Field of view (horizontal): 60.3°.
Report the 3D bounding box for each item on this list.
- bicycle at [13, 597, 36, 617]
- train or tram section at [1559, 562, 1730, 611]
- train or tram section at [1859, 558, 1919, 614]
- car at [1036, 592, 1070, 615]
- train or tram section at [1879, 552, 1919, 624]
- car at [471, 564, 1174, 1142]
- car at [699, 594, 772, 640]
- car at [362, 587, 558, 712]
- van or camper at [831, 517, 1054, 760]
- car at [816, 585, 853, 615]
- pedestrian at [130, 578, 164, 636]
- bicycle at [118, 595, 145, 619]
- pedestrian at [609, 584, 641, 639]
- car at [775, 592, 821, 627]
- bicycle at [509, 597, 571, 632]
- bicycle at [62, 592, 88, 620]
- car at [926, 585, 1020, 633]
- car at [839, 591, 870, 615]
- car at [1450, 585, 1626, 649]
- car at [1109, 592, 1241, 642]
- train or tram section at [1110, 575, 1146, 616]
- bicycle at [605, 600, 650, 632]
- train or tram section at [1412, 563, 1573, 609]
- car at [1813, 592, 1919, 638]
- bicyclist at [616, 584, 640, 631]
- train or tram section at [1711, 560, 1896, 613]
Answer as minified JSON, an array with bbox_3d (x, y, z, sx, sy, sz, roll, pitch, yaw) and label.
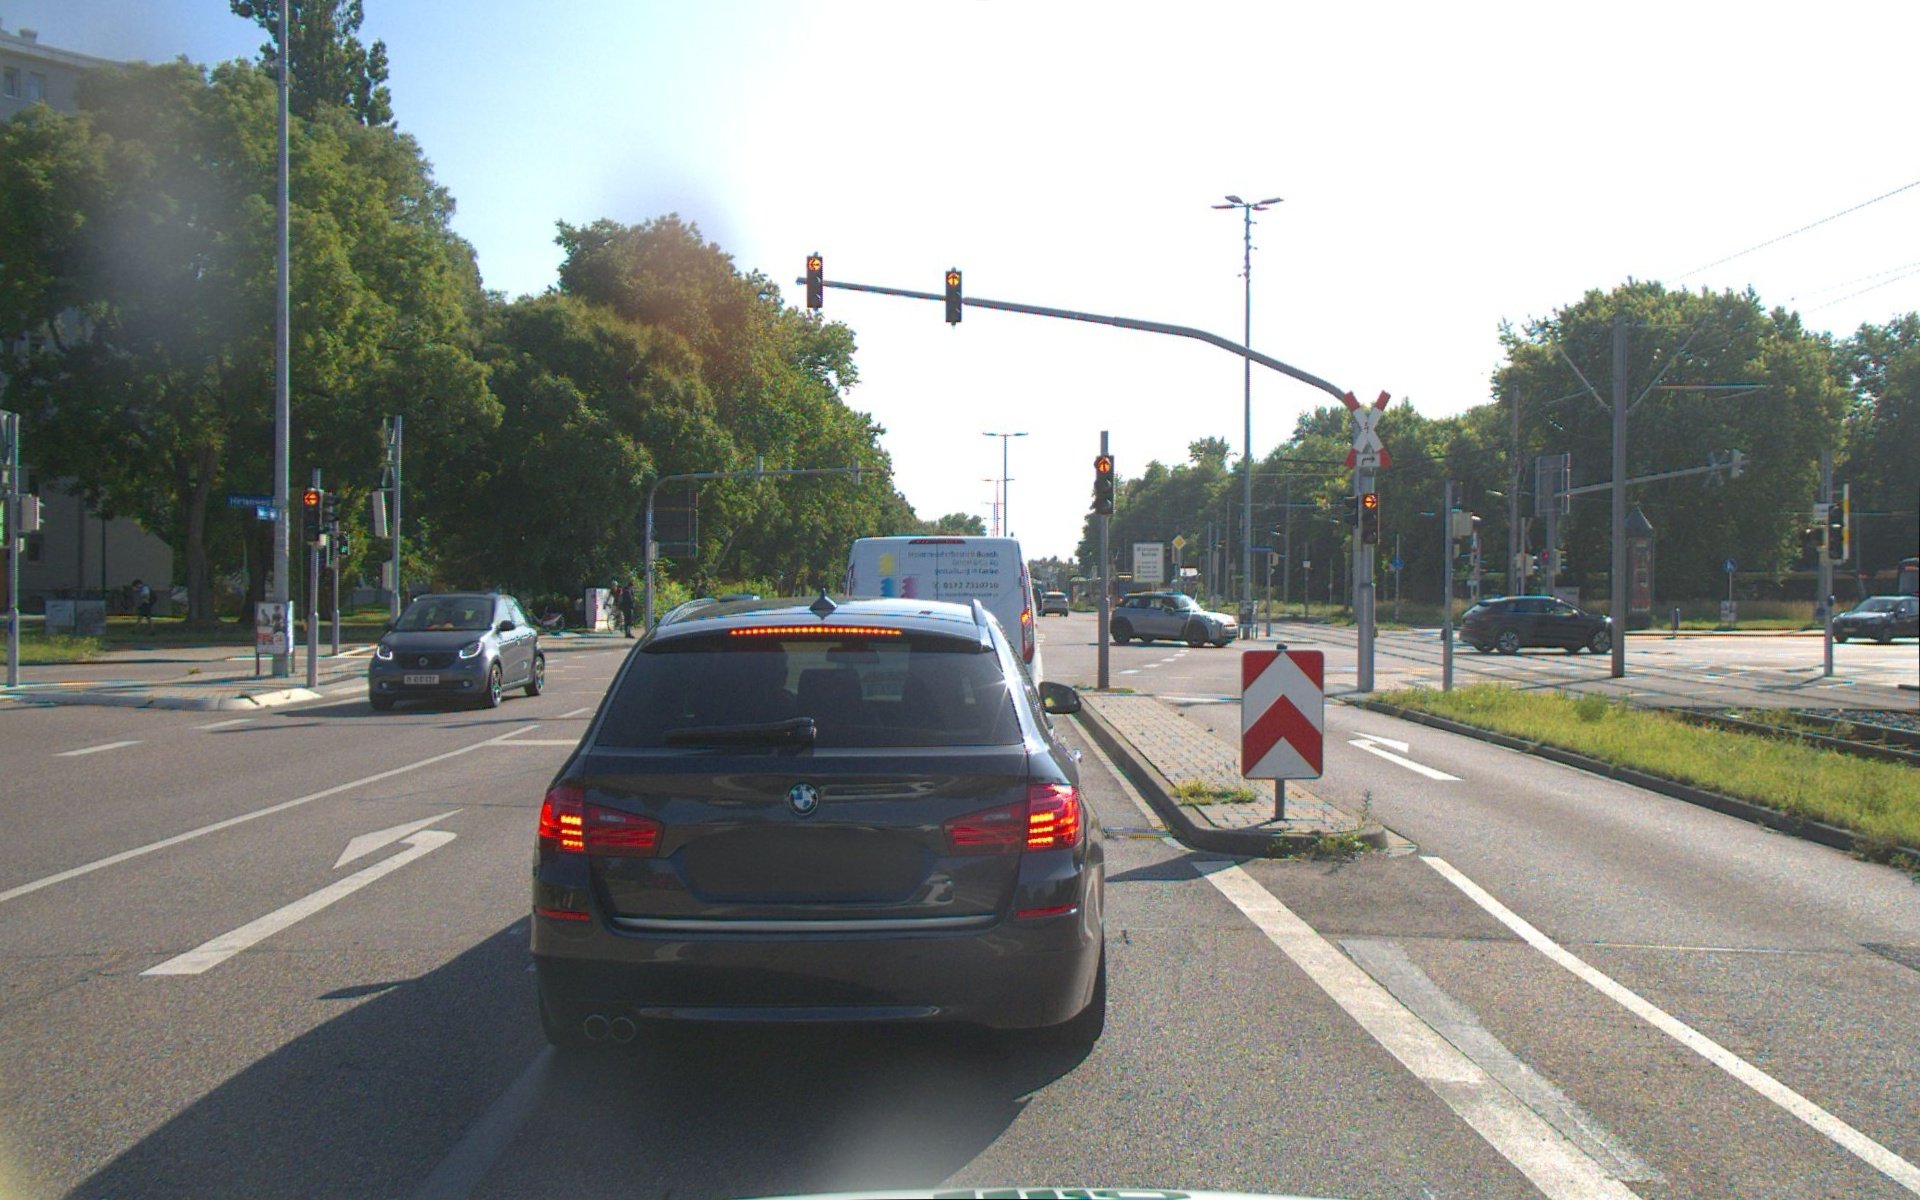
[{"bbox_3d":[-36.602,0.263,64.701,0.578,0.721,2.211,0,1,-35],"label":"bicycle"},{"bbox_3d":[53.290,-1.040,128.975,11.984,3.642,3.043,0,0,36],"label":"train or tram section"},{"bbox_3d":[63.749,-0.928,108.484,2.981,3.642,12.231,0,0,0],"label":"train or tram section"},{"bbox_3d":[6.341,0.217,112.674,1.758,1.512,3.896,2,0,-4],"label":"car"},{"bbox_3d":[53.127,-0.611,87.877,11.721,3.642,3.015,0,0,-37],"label":"train or tram section"},{"bbox_3d":[-0.384,0.662,6.435,1.864,1.532,4.064,0,0,-1],"label":"car"},{"bbox_3d":[-7.320,0.531,54.282,1.742,1.439,4.245,0,0,1],"label":"car"},{"bbox_3d":[-6.966,0.634,23.392,1.600,1.587,3.676,-2,0,0],"label":"car"},{"bbox_3d":[-0.123,0.325,16.810,1.952,2.133,4.599,0,0,1],"label":"van or camper"},{"bbox_3d":[-6.875,-0.014,90.850,1.709,1.589,4.000,-2,0,0],"label":"car"},{"bbox_3d":[-24.467,0.209,49.796,0.610,1.743,0.705,0,1,11],"label":"pedestrian"},{"bbox_3d":[-33.471,0.264,66.819,0.663,0.936,2.377,0,1,-35],"label":"bicycle"},{"bbox_3d":[-11.008,0.365,54.390,0.798,1.782,0.932,0,0,5],"label":"pedestrian"},{"bbox_3d":[-7.439,0.425,76.341,1.667,1.490,4.369,-1,0,0],"label":"car"},{"bbox_3d":[-13.809,0.487,54.441,1.870,1.138,0.632,0,0,-1],"label":"bicycle"},{"bbox_3d":[-35.035,0.240,65.453,0.606,1.085,1.892,1,-2,-37],"label":"bicycle"},{"bbox_3d":[0.404,0.295,57.507,1.824,1.590,4.176,0,0,-22],"label":"car"},{"bbox_3d":[-6.567,0.169,103.276,1.851,1.499,4.098,-1,0,-3],"label":"car"},{"bbox_3d":[16.636,0.479,47.703,4.518,1.753,1.647,-1,-1,-6],"label":"car"},{"bbox_3d":[6.173,0.465,47.636,3.457,1.408,1.601,0,0,34],"label":"car"},{"bbox_3d":[15.768,-0.359,156.147,2.738,3.681,12.960,1,0,3],"label":"train or tram section"},{"bbox_3d":[-11.423,0.546,56.898,0.606,1.058,2.073,0,0,16],"label":"bicycle"},{"bbox_3d":[43.529,-1.134,135.486,12.170,3.642,3.048,0,0,31],"label":"train or tram section"},{"bbox_3d":[32.834,0.506,58.947,4.792,1.590,2.025,0,0,-29],"label":"car"},{"bbox_3d":[-11.415,0.247,56.917,0.594,1.587,0.603,0,0,16],"label":"bicyclist"},{"bbox_3d":[60.932,-0.953,119.884,3.017,3.642,12.087,0,0,-34],"label":"train or tram section"}]
